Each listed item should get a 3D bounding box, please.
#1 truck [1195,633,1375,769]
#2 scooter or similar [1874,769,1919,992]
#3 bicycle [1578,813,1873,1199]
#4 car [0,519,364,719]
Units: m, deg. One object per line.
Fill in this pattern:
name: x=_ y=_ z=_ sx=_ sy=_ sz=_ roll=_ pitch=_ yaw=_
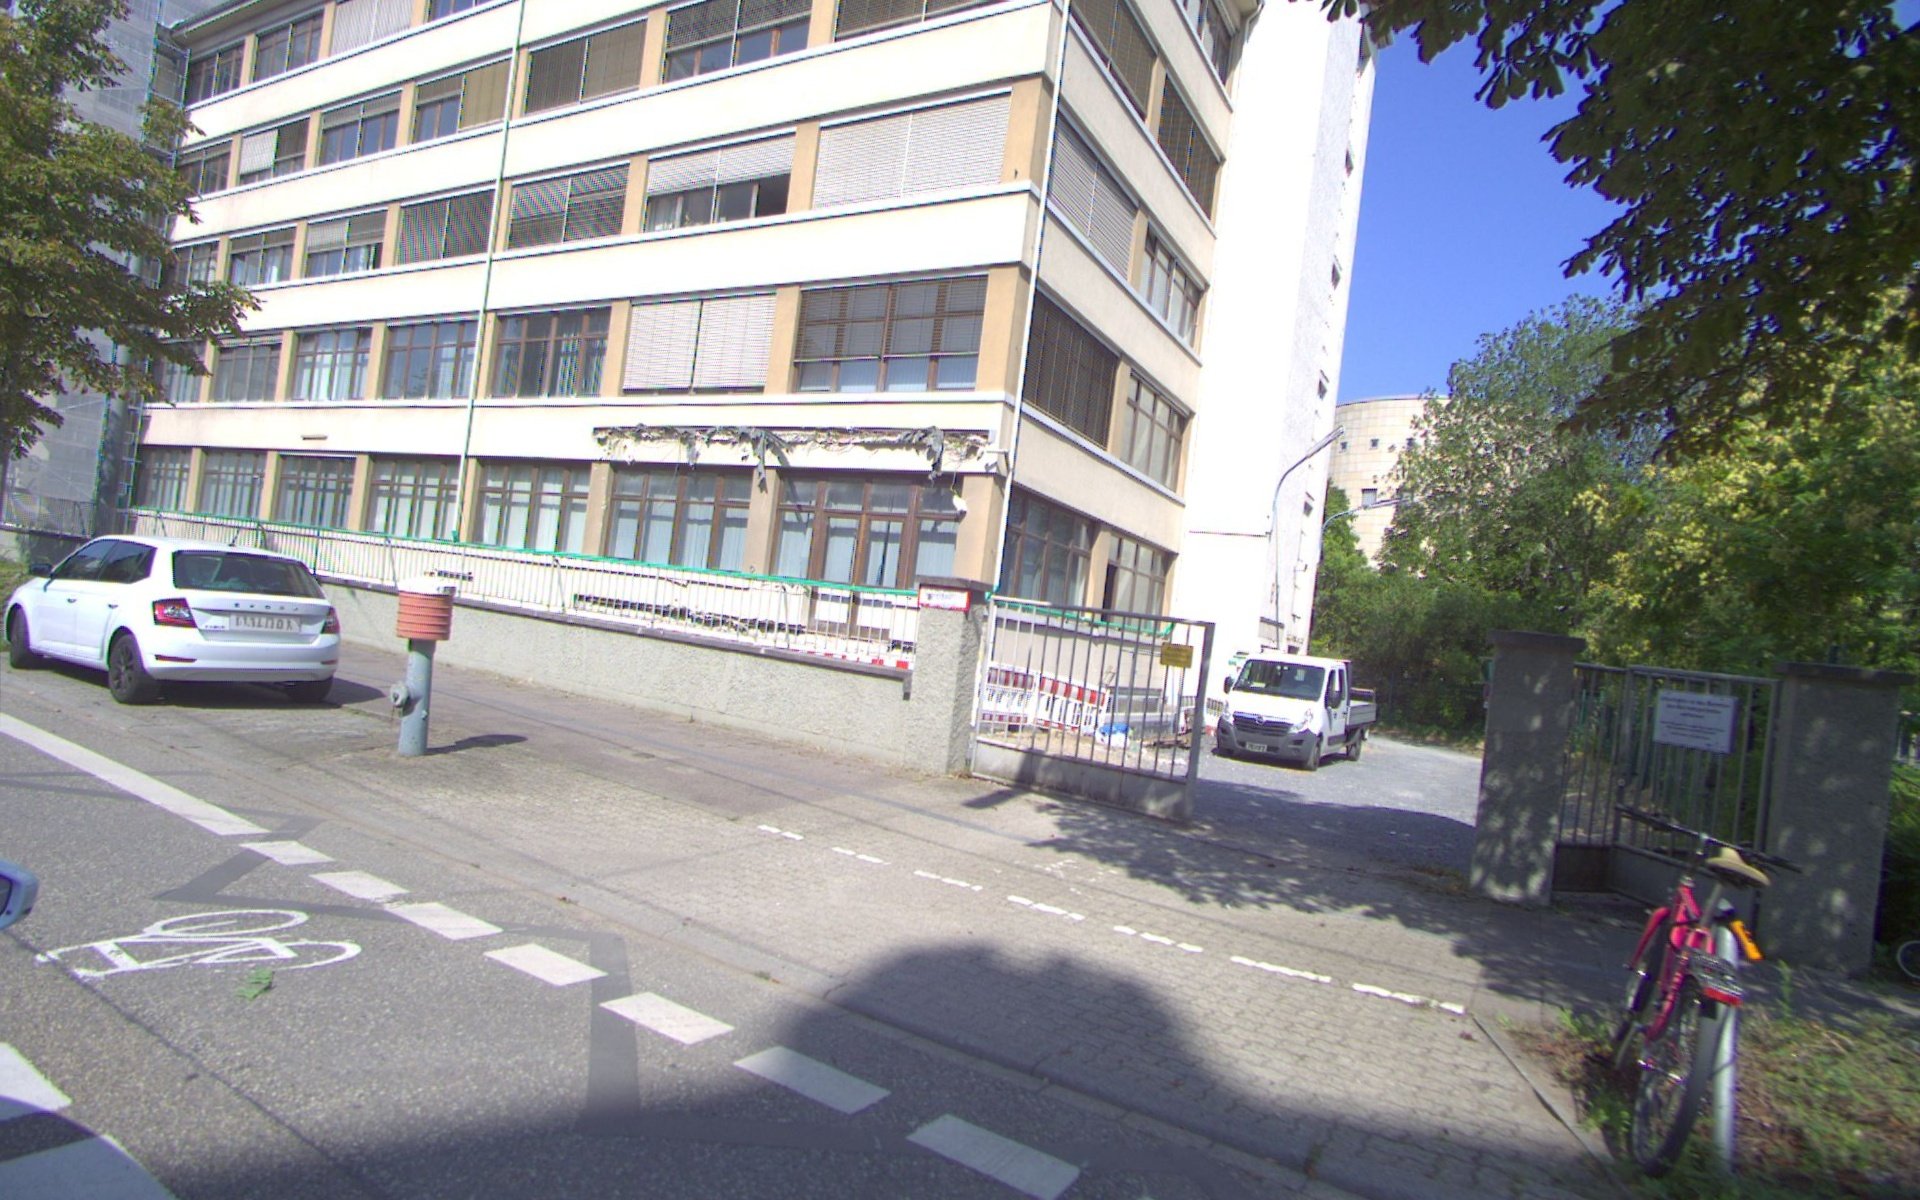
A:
truck: x=7.267 y=2.220 z=22.006 sx=2.261 sy=2.352 sz=5.517 roll=6 pitch=-2 yaw=32
scooter or similar: x=6.488 y=1.757 z=5.682 sx=1.788 sy=1.274 sz=0.557 roll=6 pitch=-1 yaw=34
bicycle: x=2.648 y=1.388 z=3.659 sx=0.548 sy=0.969 sz=1.816 roll=6 pitch=-2 yaw=31
car: x=-8.033 y=0.131 z=10.119 sx=4.147 sy=1.499 sz=1.662 roll=6 pitch=-1 yaw=32
